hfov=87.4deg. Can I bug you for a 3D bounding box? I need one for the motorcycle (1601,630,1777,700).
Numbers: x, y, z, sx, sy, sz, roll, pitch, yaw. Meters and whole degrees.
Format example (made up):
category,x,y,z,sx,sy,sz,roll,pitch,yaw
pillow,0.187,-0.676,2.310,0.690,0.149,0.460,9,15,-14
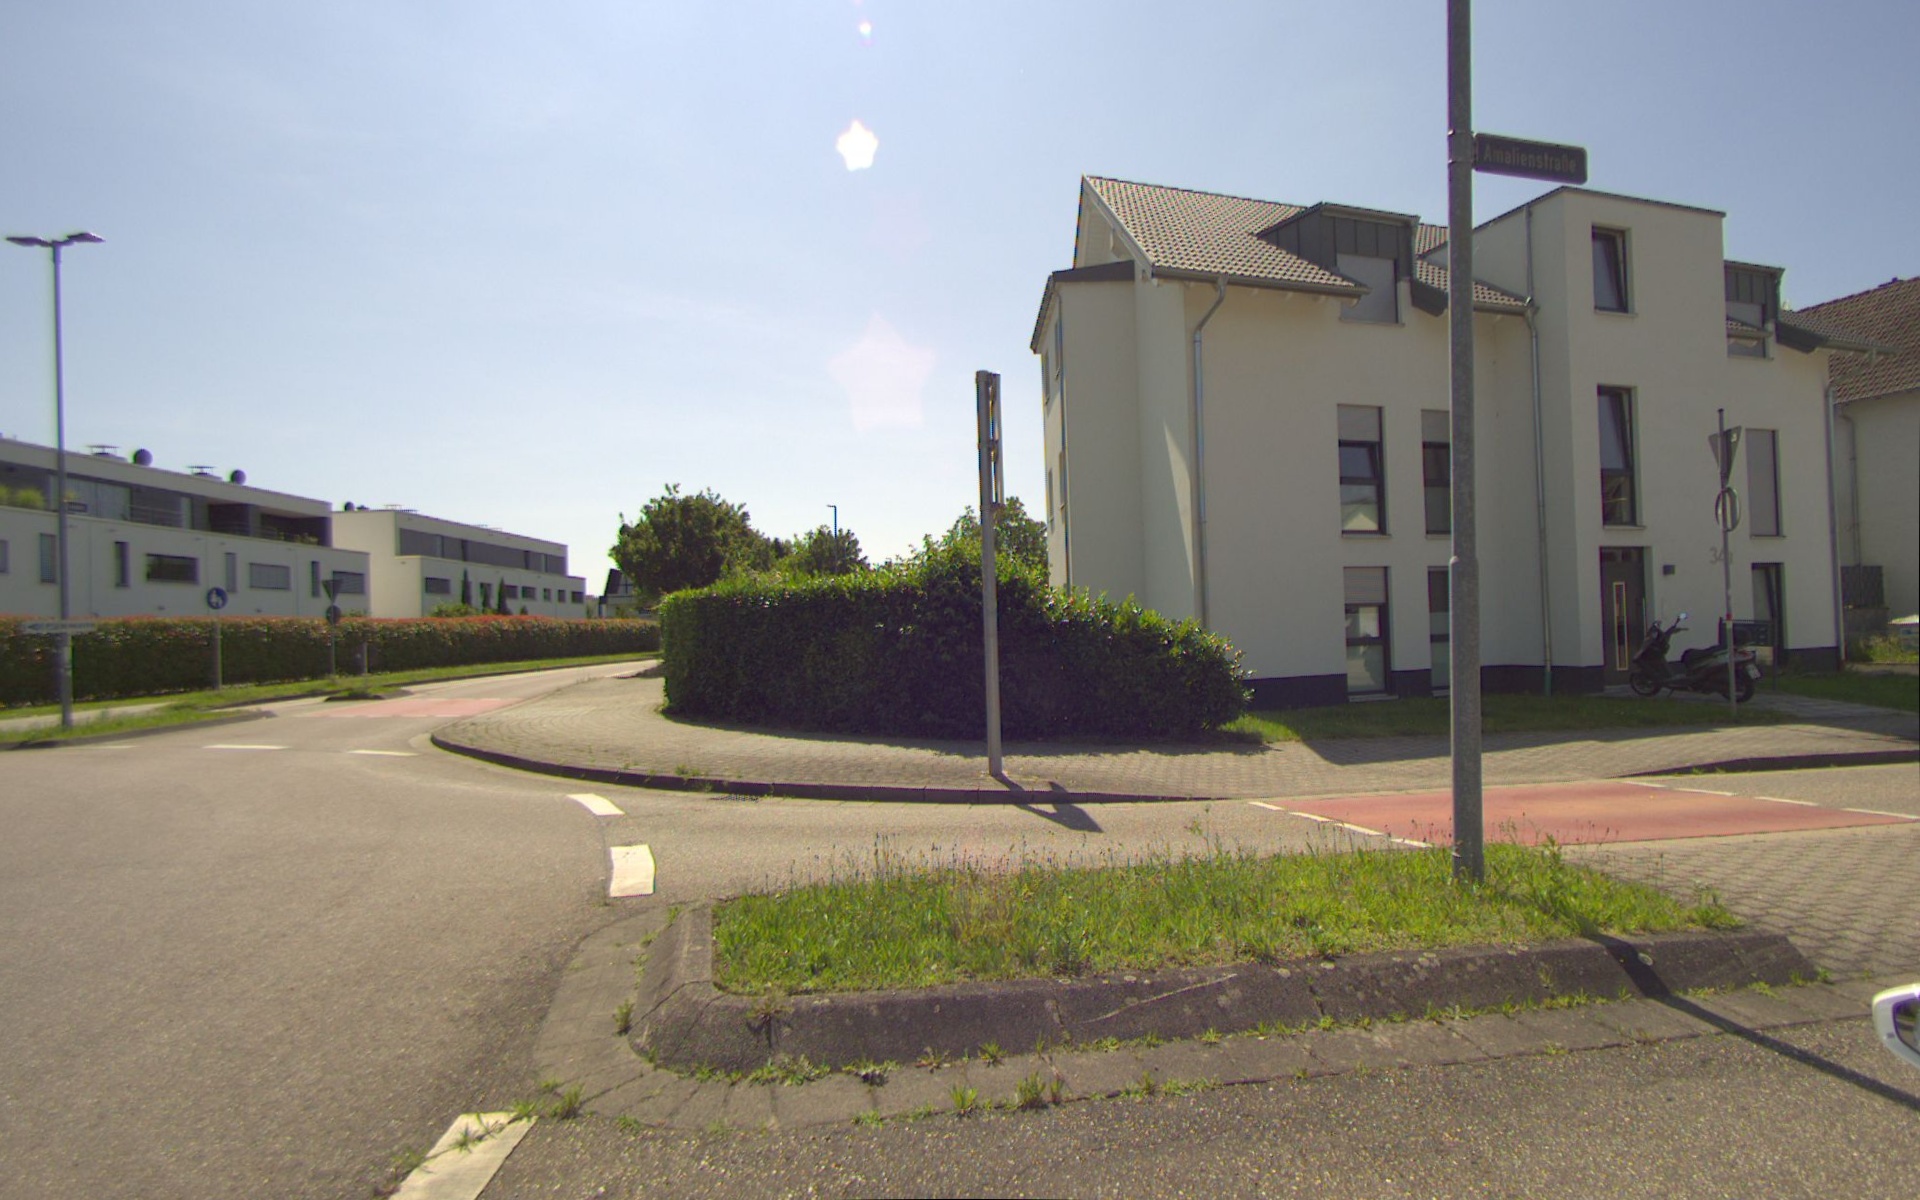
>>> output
category,x,y,z,sx,sy,sz,roll,pitch,yaw
motorcycle,11.535,1.000,16.011,0.661,1.027,2.361,1,-2,-16
